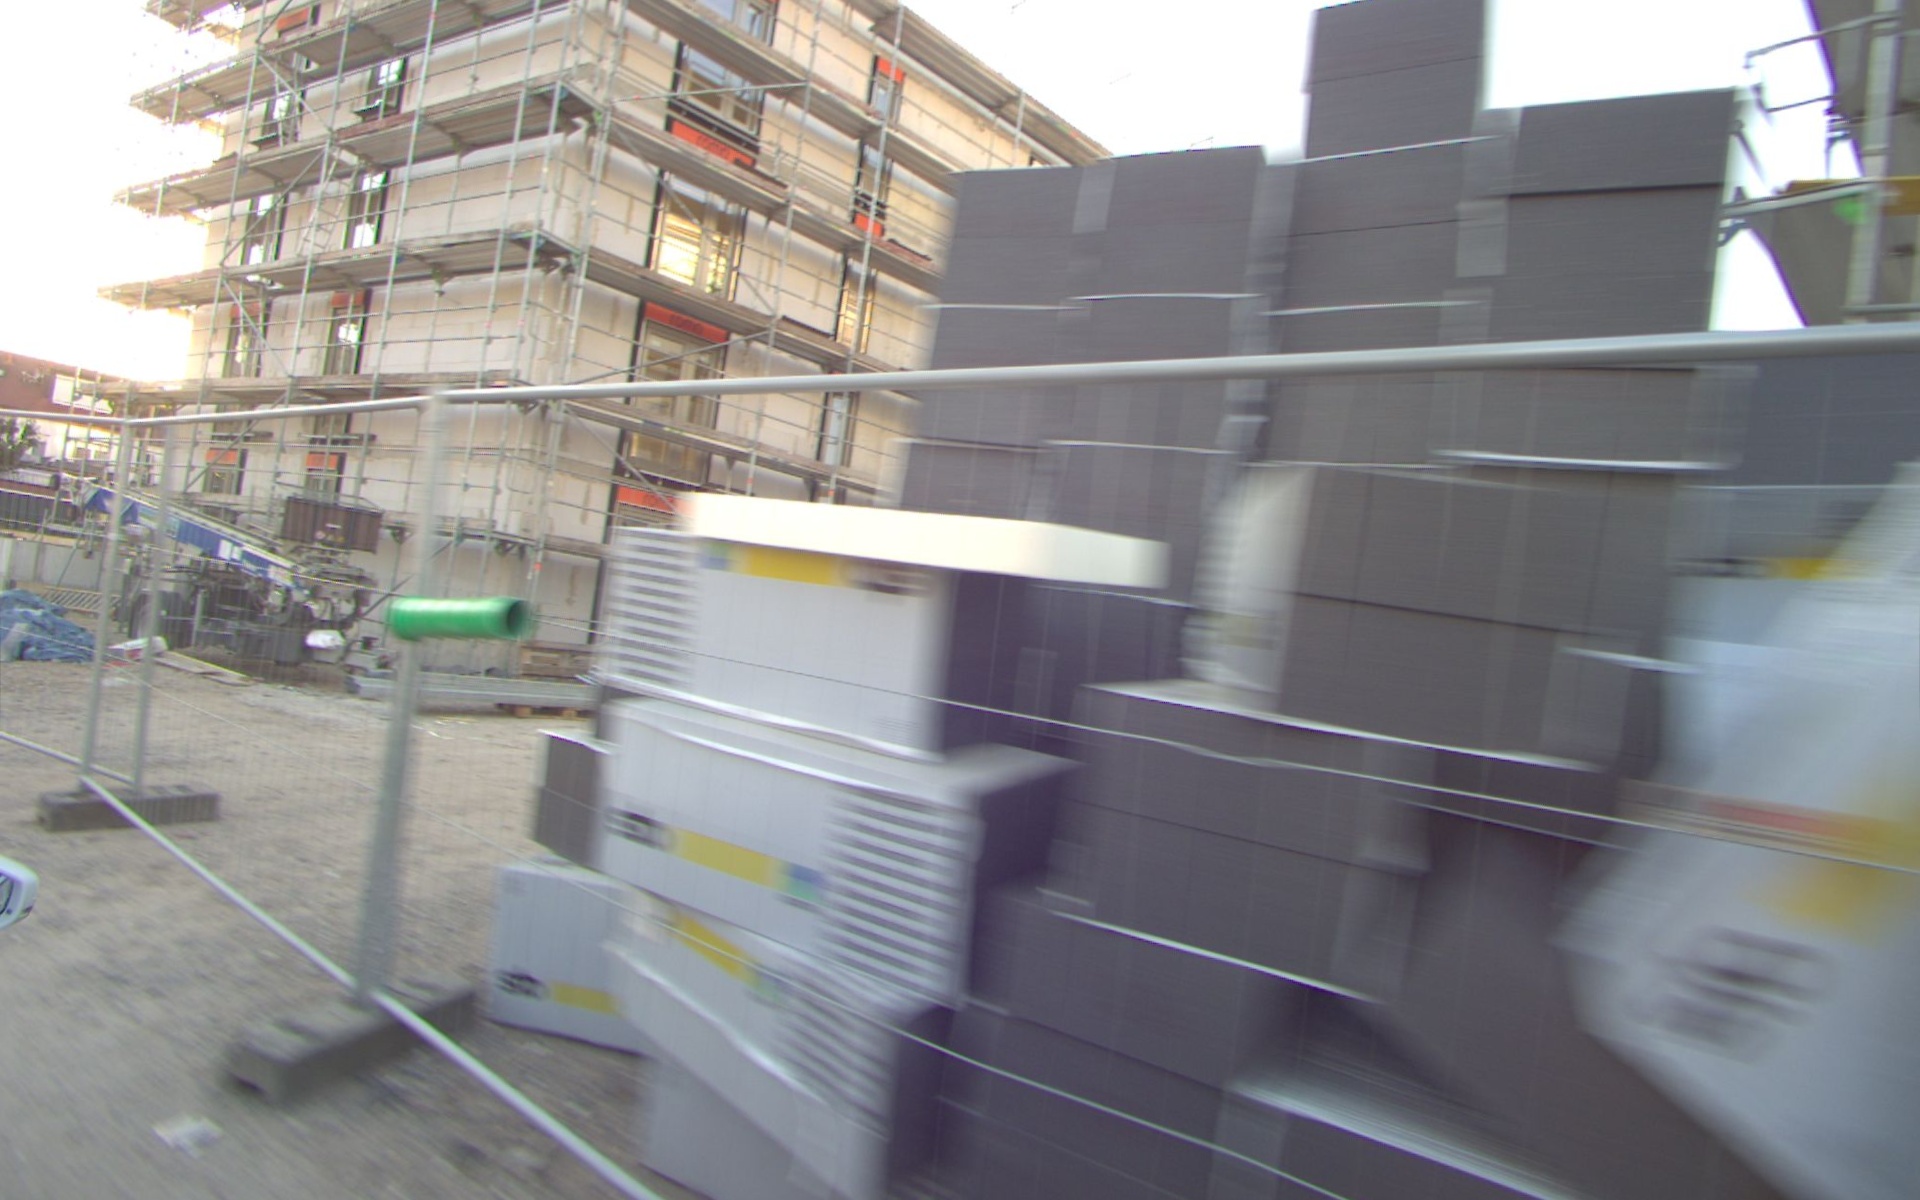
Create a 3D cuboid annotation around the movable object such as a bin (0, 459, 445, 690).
[{"bbox_3d":[-10.435,-0.510,13.768,8.233,2.300,2.068,6,-2,34],"label":"movable object such as a bin"}]
